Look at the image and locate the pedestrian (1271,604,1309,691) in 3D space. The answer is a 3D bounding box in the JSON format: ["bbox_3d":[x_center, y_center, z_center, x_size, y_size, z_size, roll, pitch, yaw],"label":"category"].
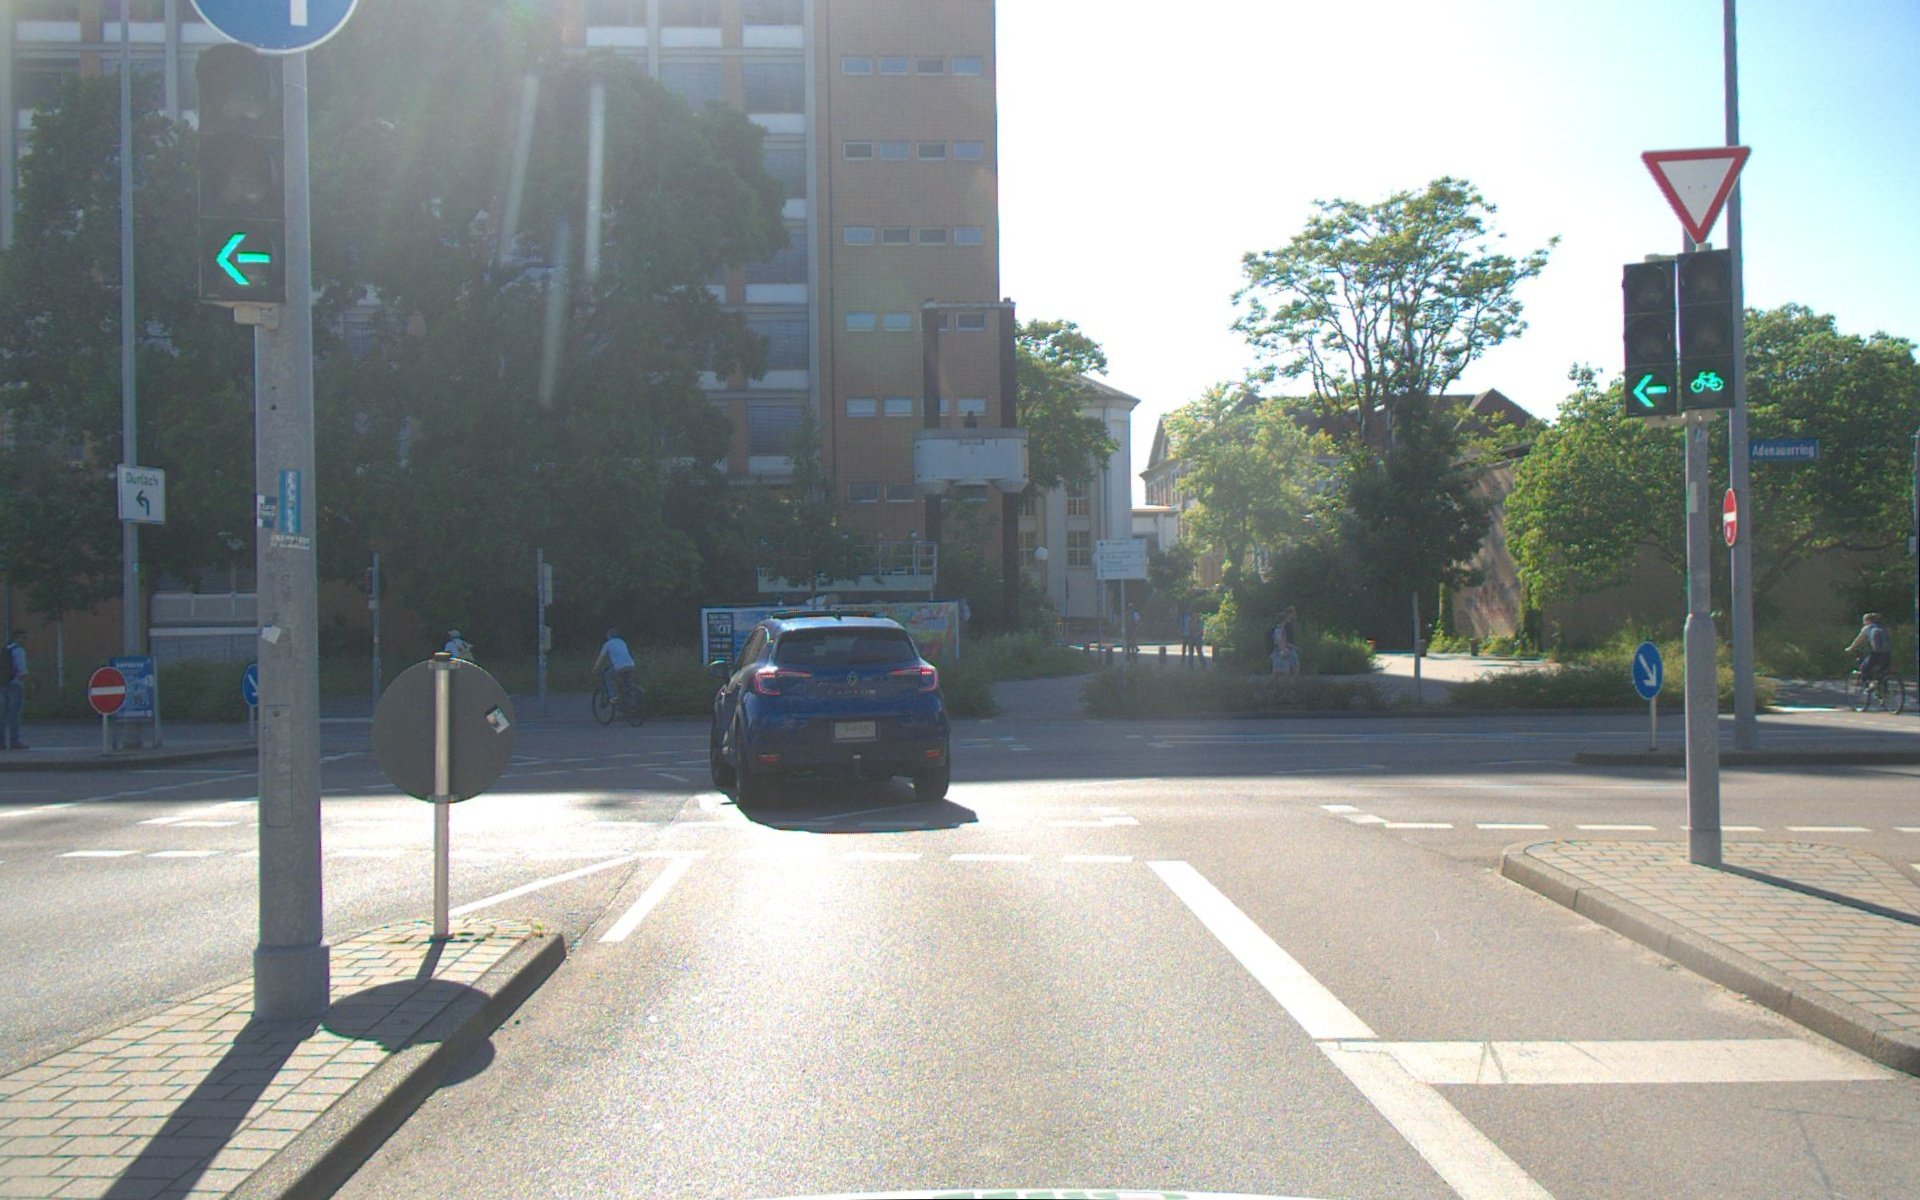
[{"bbox_3d":[7.023,0.995,35.198,0.718,1.813,0.732,1,-1,16],"label":"pedestrian"}]

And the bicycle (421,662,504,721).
[{"bbox_3d":[-10.577,1.924,35.138,1.833,1.185,0.745,-1,-1,36],"label":"bicycle"}]

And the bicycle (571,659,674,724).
[{"bbox_3d":[-6.440,1.741,31.517,1.826,1.185,0.718,-1,-1,23],"label":"bicycle"}]

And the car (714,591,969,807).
[{"bbox_3d":[-1.206,0.869,14.996,1.843,1.646,3.787,-1,-3,-11],"label":"car"}]

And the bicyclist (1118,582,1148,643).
[{"bbox_3d":[5.055,0.366,48.302,0.704,1.765,0.978,-1,-1,15],"label":"bicyclist"}]

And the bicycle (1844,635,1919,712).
[{"bbox_3d":[16.005,1.236,28.455,0.628,1.185,1.871,-2,1,2],"label":"bicycle"}]

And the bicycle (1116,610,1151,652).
[{"bbox_3d":[5.075,0.887,48.342,0.730,1.185,1.871,-1,0,15],"label":"bicycle"}]

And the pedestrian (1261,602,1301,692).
[{"bbox_3d":[6.685,0.970,34.427,0.718,1.848,0.732,1,-1,16],"label":"pedestrian"}]

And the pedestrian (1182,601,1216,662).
[{"bbox_3d":[6.568,0.862,45.420,0.664,1.672,0.733,1,-1,35],"label":"pedestrian"}]

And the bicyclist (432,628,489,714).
[{"bbox_3d":[-10.632,1.492,35.180,0.958,1.793,0.719,-1,-1,36],"label":"bicyclist"}]

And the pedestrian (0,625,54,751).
[{"bbox_3d":[-14.447,1.338,25.273,0.740,1.865,1.093,-1,-2,-10],"label":"pedestrian"}]

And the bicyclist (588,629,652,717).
[{"bbox_3d":[-6.478,1.378,31.530,0.955,1.645,0.722,-1,-1,23],"label":"bicyclist"}]

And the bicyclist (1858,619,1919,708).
[{"bbox_3d":[16.001,1.084,28.497,0.628,1.469,0.777,-2,1,2],"label":"bicyclist"}]

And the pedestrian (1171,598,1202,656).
[{"bbox_3d":[6.601,0.783,48.267,0.663,1.672,0.735,1,-1,29],"label":"pedestrian"}]
